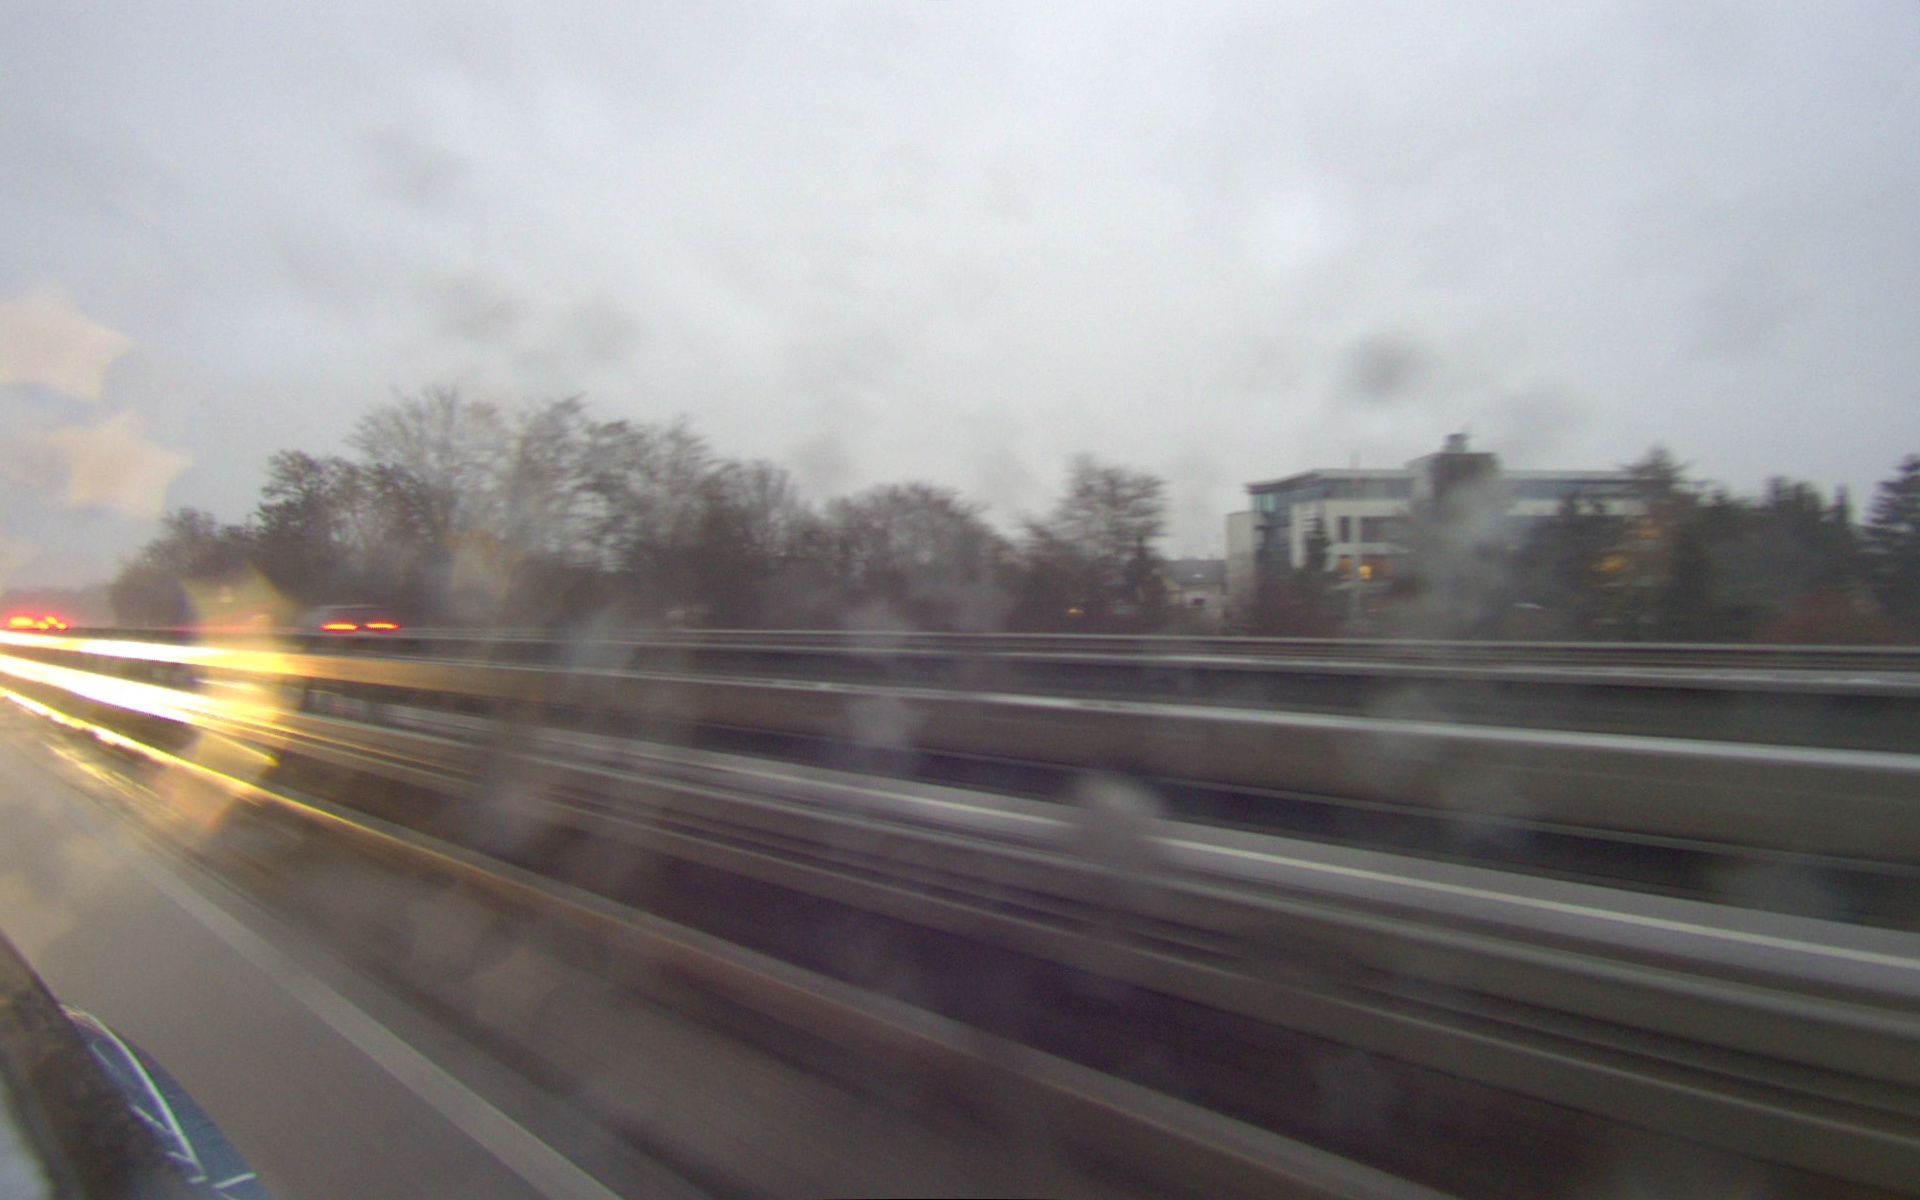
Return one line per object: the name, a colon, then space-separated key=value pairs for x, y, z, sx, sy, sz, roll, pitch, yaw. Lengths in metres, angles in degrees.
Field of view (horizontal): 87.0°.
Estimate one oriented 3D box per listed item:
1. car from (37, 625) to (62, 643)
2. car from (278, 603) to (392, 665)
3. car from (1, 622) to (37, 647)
car: x=-97.844 y=3.589 z=108.759 sx=4.137 sy=1.847 sz=1.725 roll=0 pitch=-1 yaw=44
car: x=-20.106 y=1.055 z=32.472 sx=4.703 sy=1.797 sz=1.875 roll=-1 pitch=0 yaw=42
car: x=-68.233 y=2.486 z=73.367 sx=4.002 sy=1.652 sz=1.721 roll=-1 pitch=1 yaw=45
